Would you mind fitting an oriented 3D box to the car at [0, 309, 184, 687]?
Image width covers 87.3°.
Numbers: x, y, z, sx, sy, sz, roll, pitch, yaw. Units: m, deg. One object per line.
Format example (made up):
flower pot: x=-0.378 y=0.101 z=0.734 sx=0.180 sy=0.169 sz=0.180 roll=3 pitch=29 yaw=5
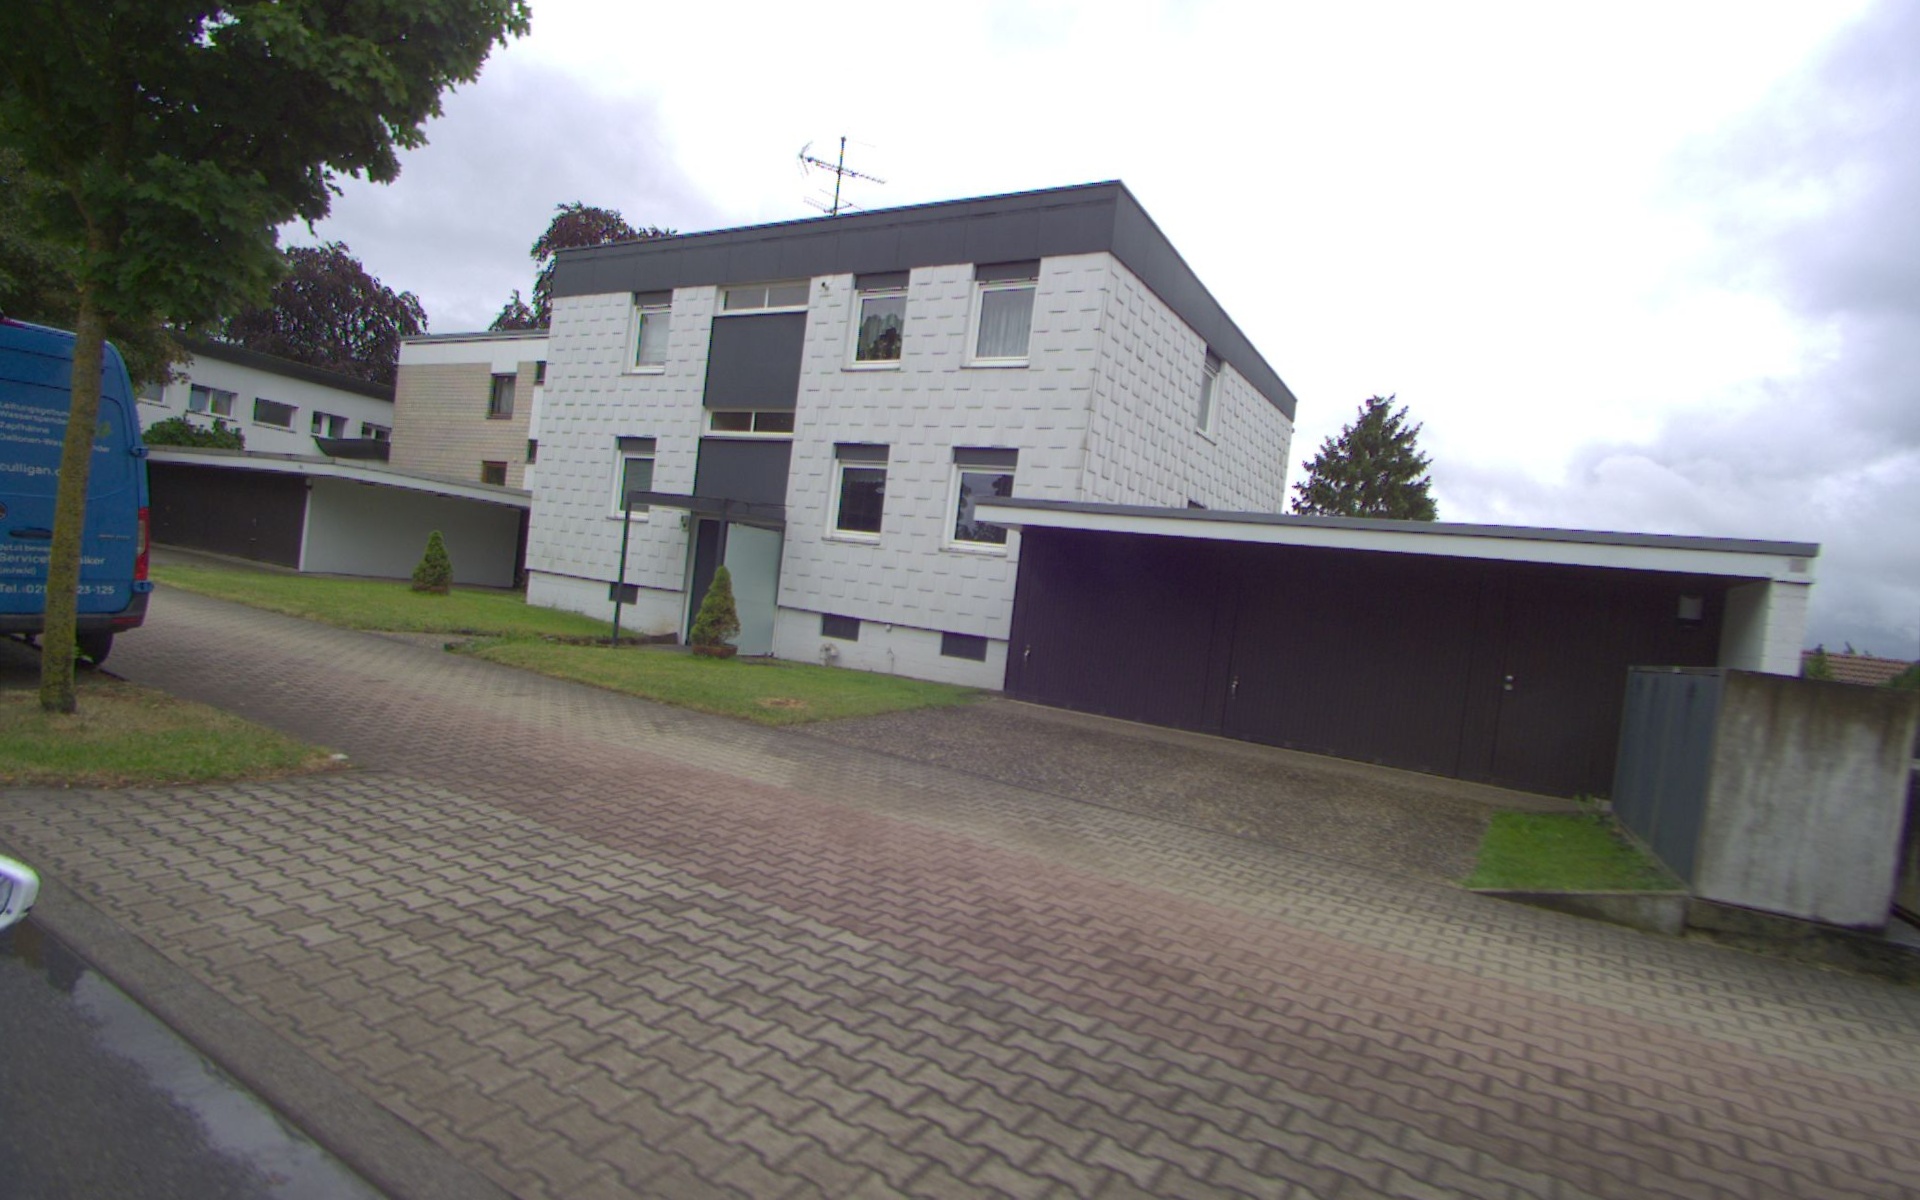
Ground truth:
car: x=-9.011 y=-0.983 z=8.466 sx=5.539 sy=2.621 sz=1.994 roll=7 pitch=2 yaw=31
